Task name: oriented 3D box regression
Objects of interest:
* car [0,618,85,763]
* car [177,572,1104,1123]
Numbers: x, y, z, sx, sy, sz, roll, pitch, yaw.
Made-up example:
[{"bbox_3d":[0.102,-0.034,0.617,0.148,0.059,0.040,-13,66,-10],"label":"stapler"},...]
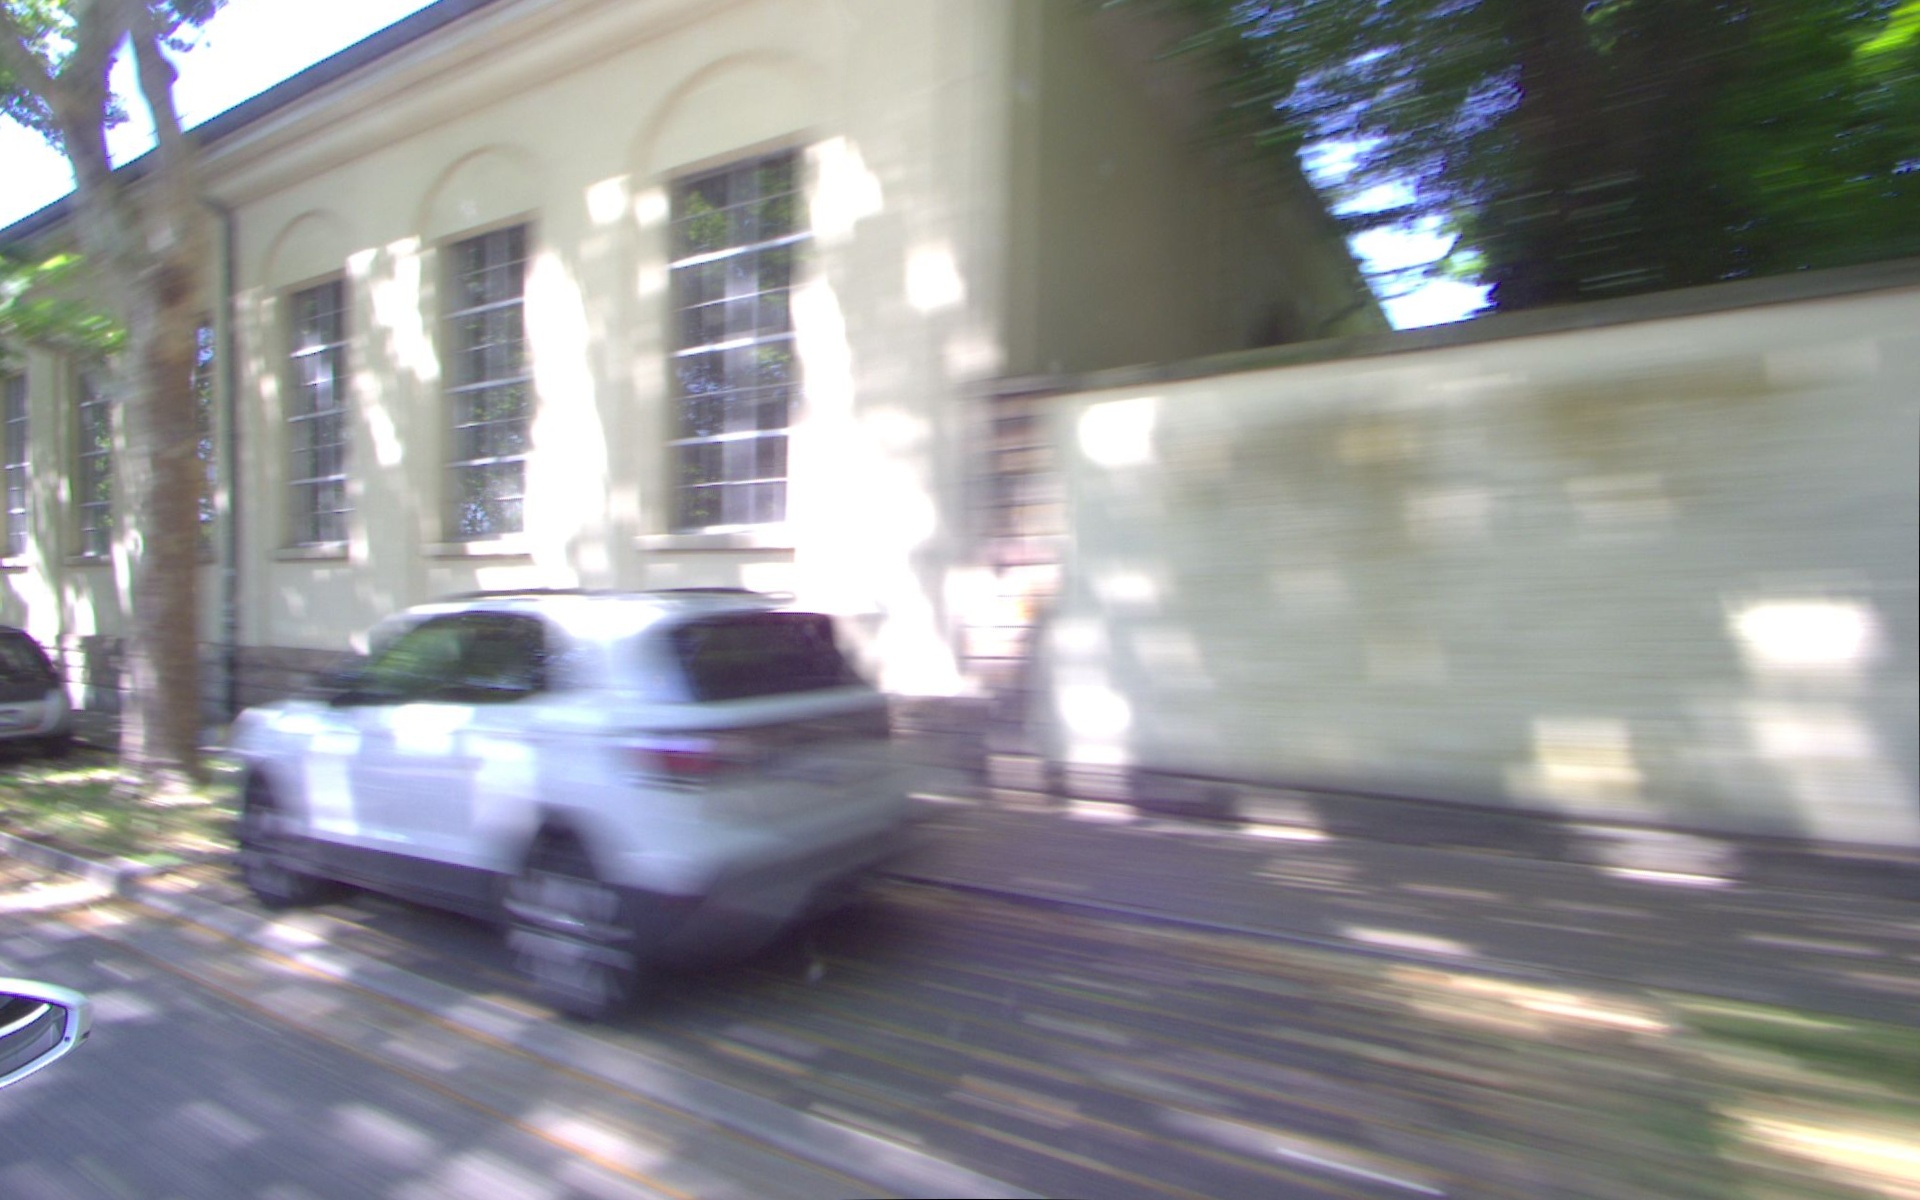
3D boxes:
[{"bbox_3d":[-11.705,0.959,11.246,4.369,1.459,1.618,-1,0,32],"label":"car"},{"bbox_3d":[-1.814,0.704,4.883,4.713,1.578,1.736,0,1,34],"label":"car"}]
